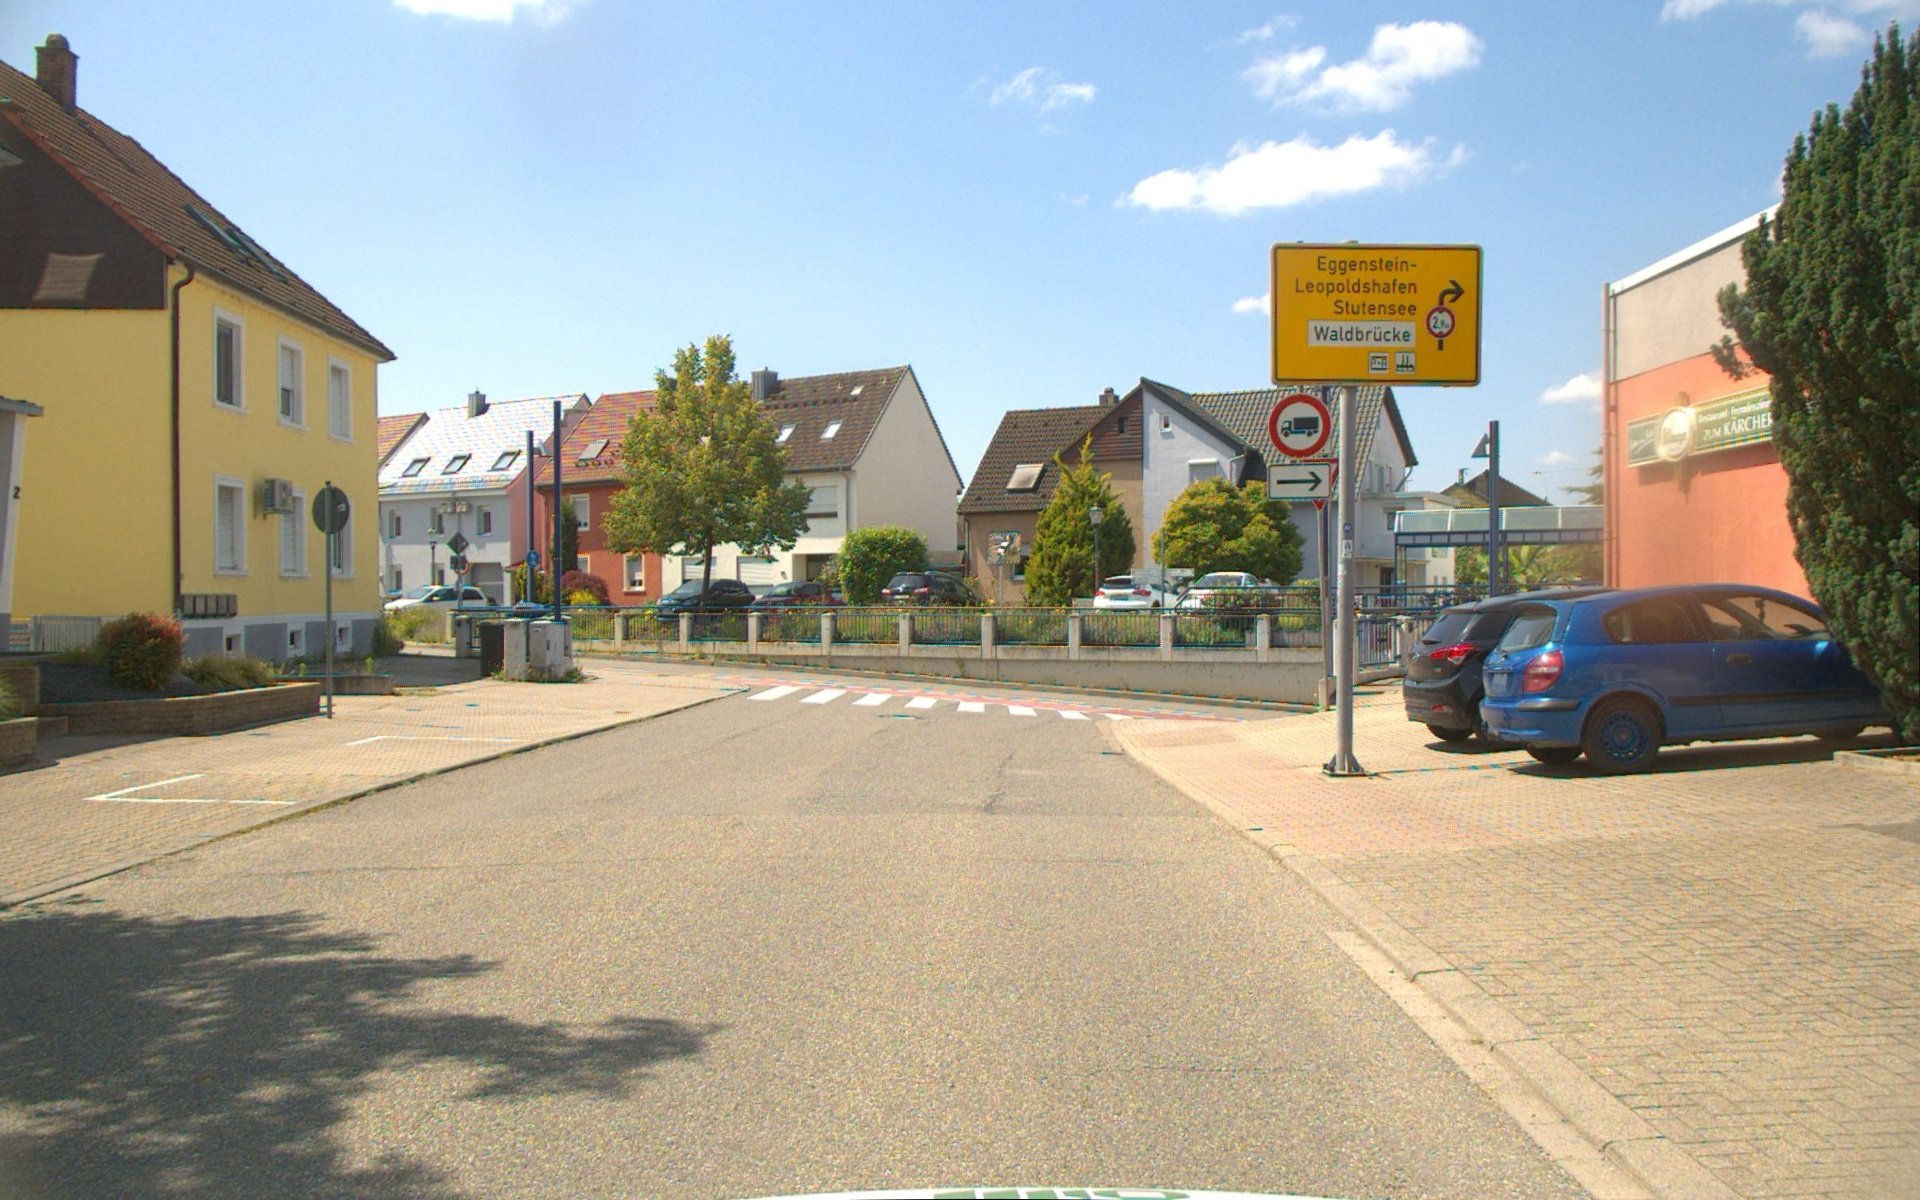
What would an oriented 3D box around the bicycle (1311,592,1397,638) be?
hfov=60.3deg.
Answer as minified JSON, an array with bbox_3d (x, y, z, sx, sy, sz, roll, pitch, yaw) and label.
[{"bbox_3d":[9.875,0.370,41.502,2.071,1.145,0.333,0,0,20],"label":"bicycle"}]

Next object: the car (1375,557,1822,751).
[{"bbox_3d":[6.514,0.546,17.158,3.818,1.516,1.809,-6,-1,-3],"label":"car"}]

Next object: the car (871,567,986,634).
[{"bbox_3d":[-0.910,0.045,50.832,1.831,1.828,3.996,4,0,26],"label":"car"}]

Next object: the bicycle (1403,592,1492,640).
[{"bbox_3d":[11.997,0.384,40.722,2.071,1.145,0.392,0,0,20],"label":"bicycle"}]

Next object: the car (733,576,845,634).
[{"bbox_3d":[-5.411,0.174,52.792,1.831,1.614,3.606,4,0,26],"label":"car"}]

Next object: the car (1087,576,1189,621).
[{"bbox_3d":[5.113,-0.030,47.265,1.790,1.037,3.455,4,0,26],"label":"car"}]

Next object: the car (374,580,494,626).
[{"bbox_3d":[-20.218,0.126,63.749,1.711,1.514,4.244,4,0,32],"label":"car"}]

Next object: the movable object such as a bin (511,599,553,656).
[{"bbox_3d":[-9.343,0.593,36.120,0.825,1.235,1.272,1,0,-13],"label":"movable object such as a bin"}]

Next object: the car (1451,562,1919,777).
[{"bbox_3d":[6.552,0.539,13.891,4.235,1.465,1.779,-4,-2,-1],"label":"car"}]

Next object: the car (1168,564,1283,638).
[{"bbox_3d":[7.471,0.060,46.170,1.955,1.828,4.192,4,0,26],"label":"car"}]

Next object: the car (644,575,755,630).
[{"bbox_3d":[-8.588,0.103,54.790,1.831,1.614,3.606,4,0,26],"label":"car"}]

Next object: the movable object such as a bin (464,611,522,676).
[{"bbox_3d":[-9.241,0.848,32.753,0.867,1.247,0.902,1,0,2],"label":"movable object such as a bin"}]
